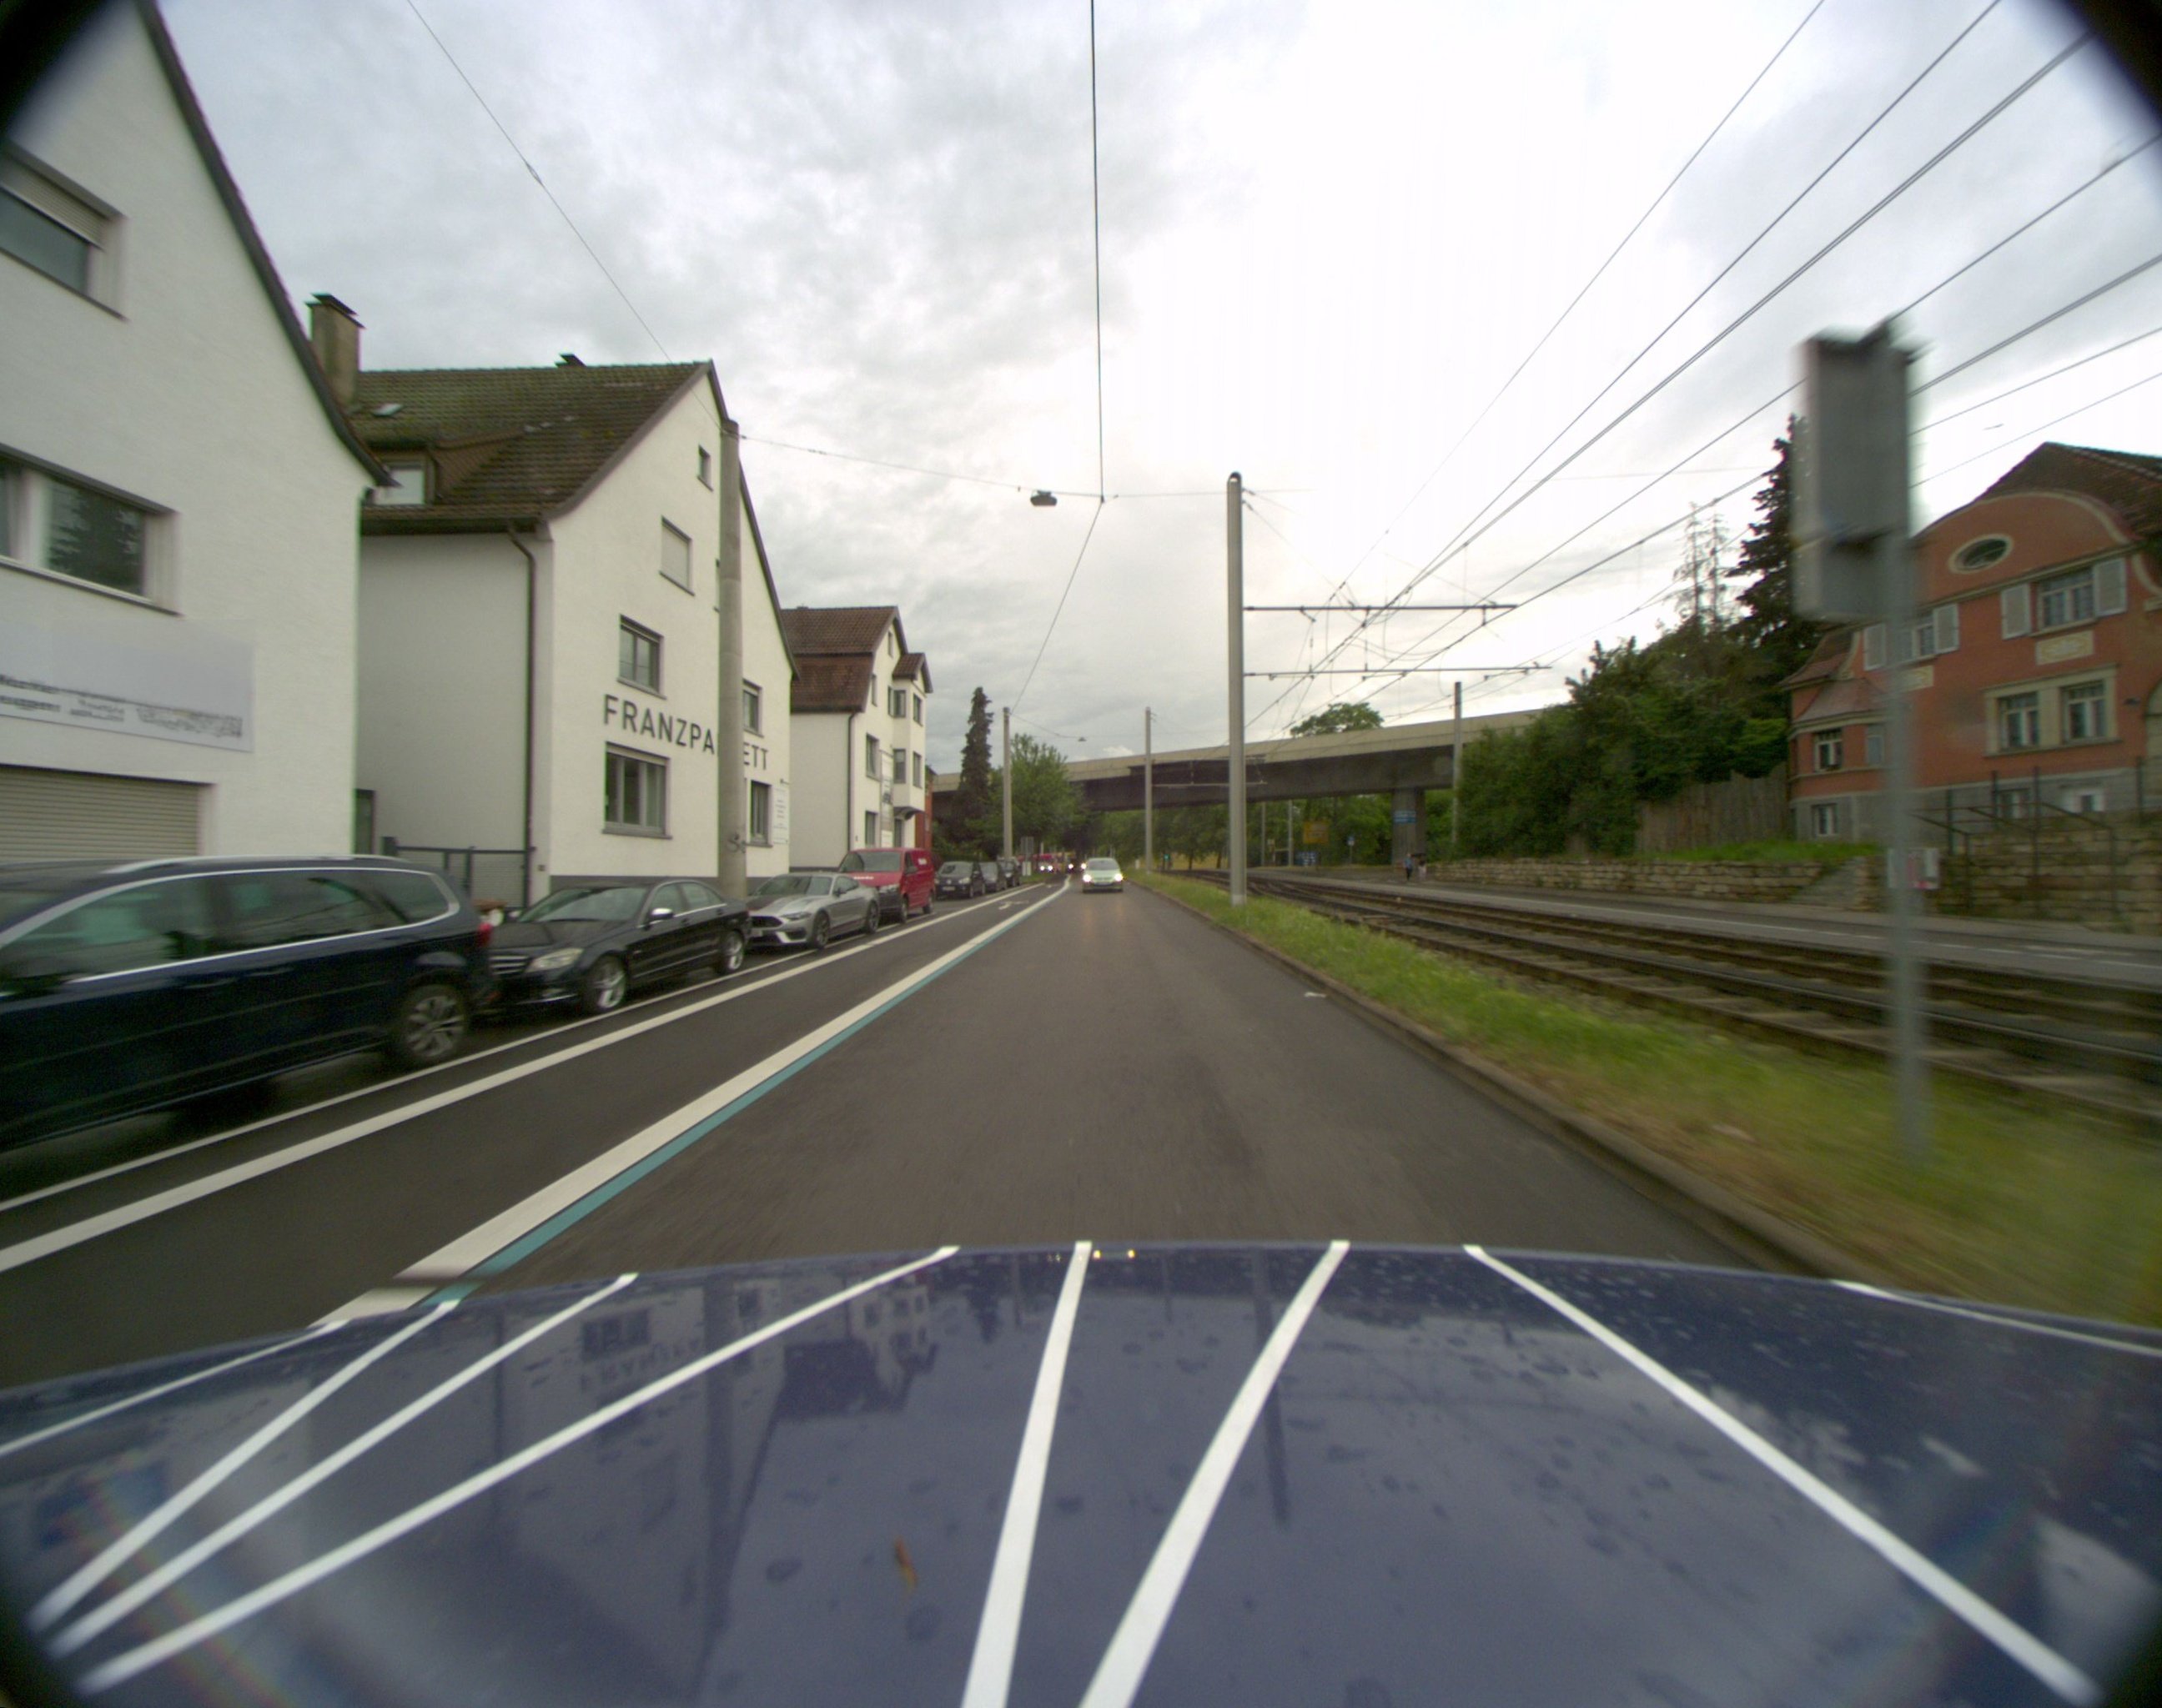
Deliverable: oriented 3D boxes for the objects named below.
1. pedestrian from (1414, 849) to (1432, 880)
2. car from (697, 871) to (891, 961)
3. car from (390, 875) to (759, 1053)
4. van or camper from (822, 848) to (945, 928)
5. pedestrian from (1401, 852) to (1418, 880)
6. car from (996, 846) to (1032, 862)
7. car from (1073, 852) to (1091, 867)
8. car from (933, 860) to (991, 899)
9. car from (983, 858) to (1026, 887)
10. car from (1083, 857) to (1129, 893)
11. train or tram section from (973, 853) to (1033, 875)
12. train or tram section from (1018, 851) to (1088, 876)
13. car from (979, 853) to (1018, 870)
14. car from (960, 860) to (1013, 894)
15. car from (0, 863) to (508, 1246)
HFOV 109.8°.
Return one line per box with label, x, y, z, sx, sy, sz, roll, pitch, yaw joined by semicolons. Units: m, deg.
pedestrian;20.741;0.639;46.060;0.695;1.820;0.867;-1;-1;2
car;-5.415;1.107;15.110;1.800;1.368;4.671;-1;0;4
car;-5.756;1.120;9.382;1.638;1.529;4.135;-3;0;1
van or camper;-5.168;0.813;20.624;1.855;1.909;4.995;0;0;2
pedestrian;19.731;0.719;45.651;0.695;1.660;0.888;-1;-1;4
car;-6.882;0.010;77.975;1.798;1.513;3.743;-1;-1;30
car;0.089;0.511;78.405;1.780;1.493;3.999;0;0;-1
car;-4.863;1.007;31.565;1.581;1.443;3.720;0;1;4
car;-4.187;1.000;42.124;1.680;1.414;4.566;-1;0;3
car;1.168;0.914;33.482;1.779;1.492;4.003;0;-1;6
train or tram section;-15.361;2.001;146.772;2.882;3.947;19.284;-3;0;-33
train or tram section;-5.122;1.656;130.362;2.881;3.937;19.286;-3;0;-31
car;-8.643;0.784;79.835;1.962;1.621;4.032;-1;-1;30
car;-4.441;1.051;36.269;1.716;1.404;4.566;-1;0;3
car;-6.110;1.019;4.425;1.844;1.790;4.686;-3;0;1
